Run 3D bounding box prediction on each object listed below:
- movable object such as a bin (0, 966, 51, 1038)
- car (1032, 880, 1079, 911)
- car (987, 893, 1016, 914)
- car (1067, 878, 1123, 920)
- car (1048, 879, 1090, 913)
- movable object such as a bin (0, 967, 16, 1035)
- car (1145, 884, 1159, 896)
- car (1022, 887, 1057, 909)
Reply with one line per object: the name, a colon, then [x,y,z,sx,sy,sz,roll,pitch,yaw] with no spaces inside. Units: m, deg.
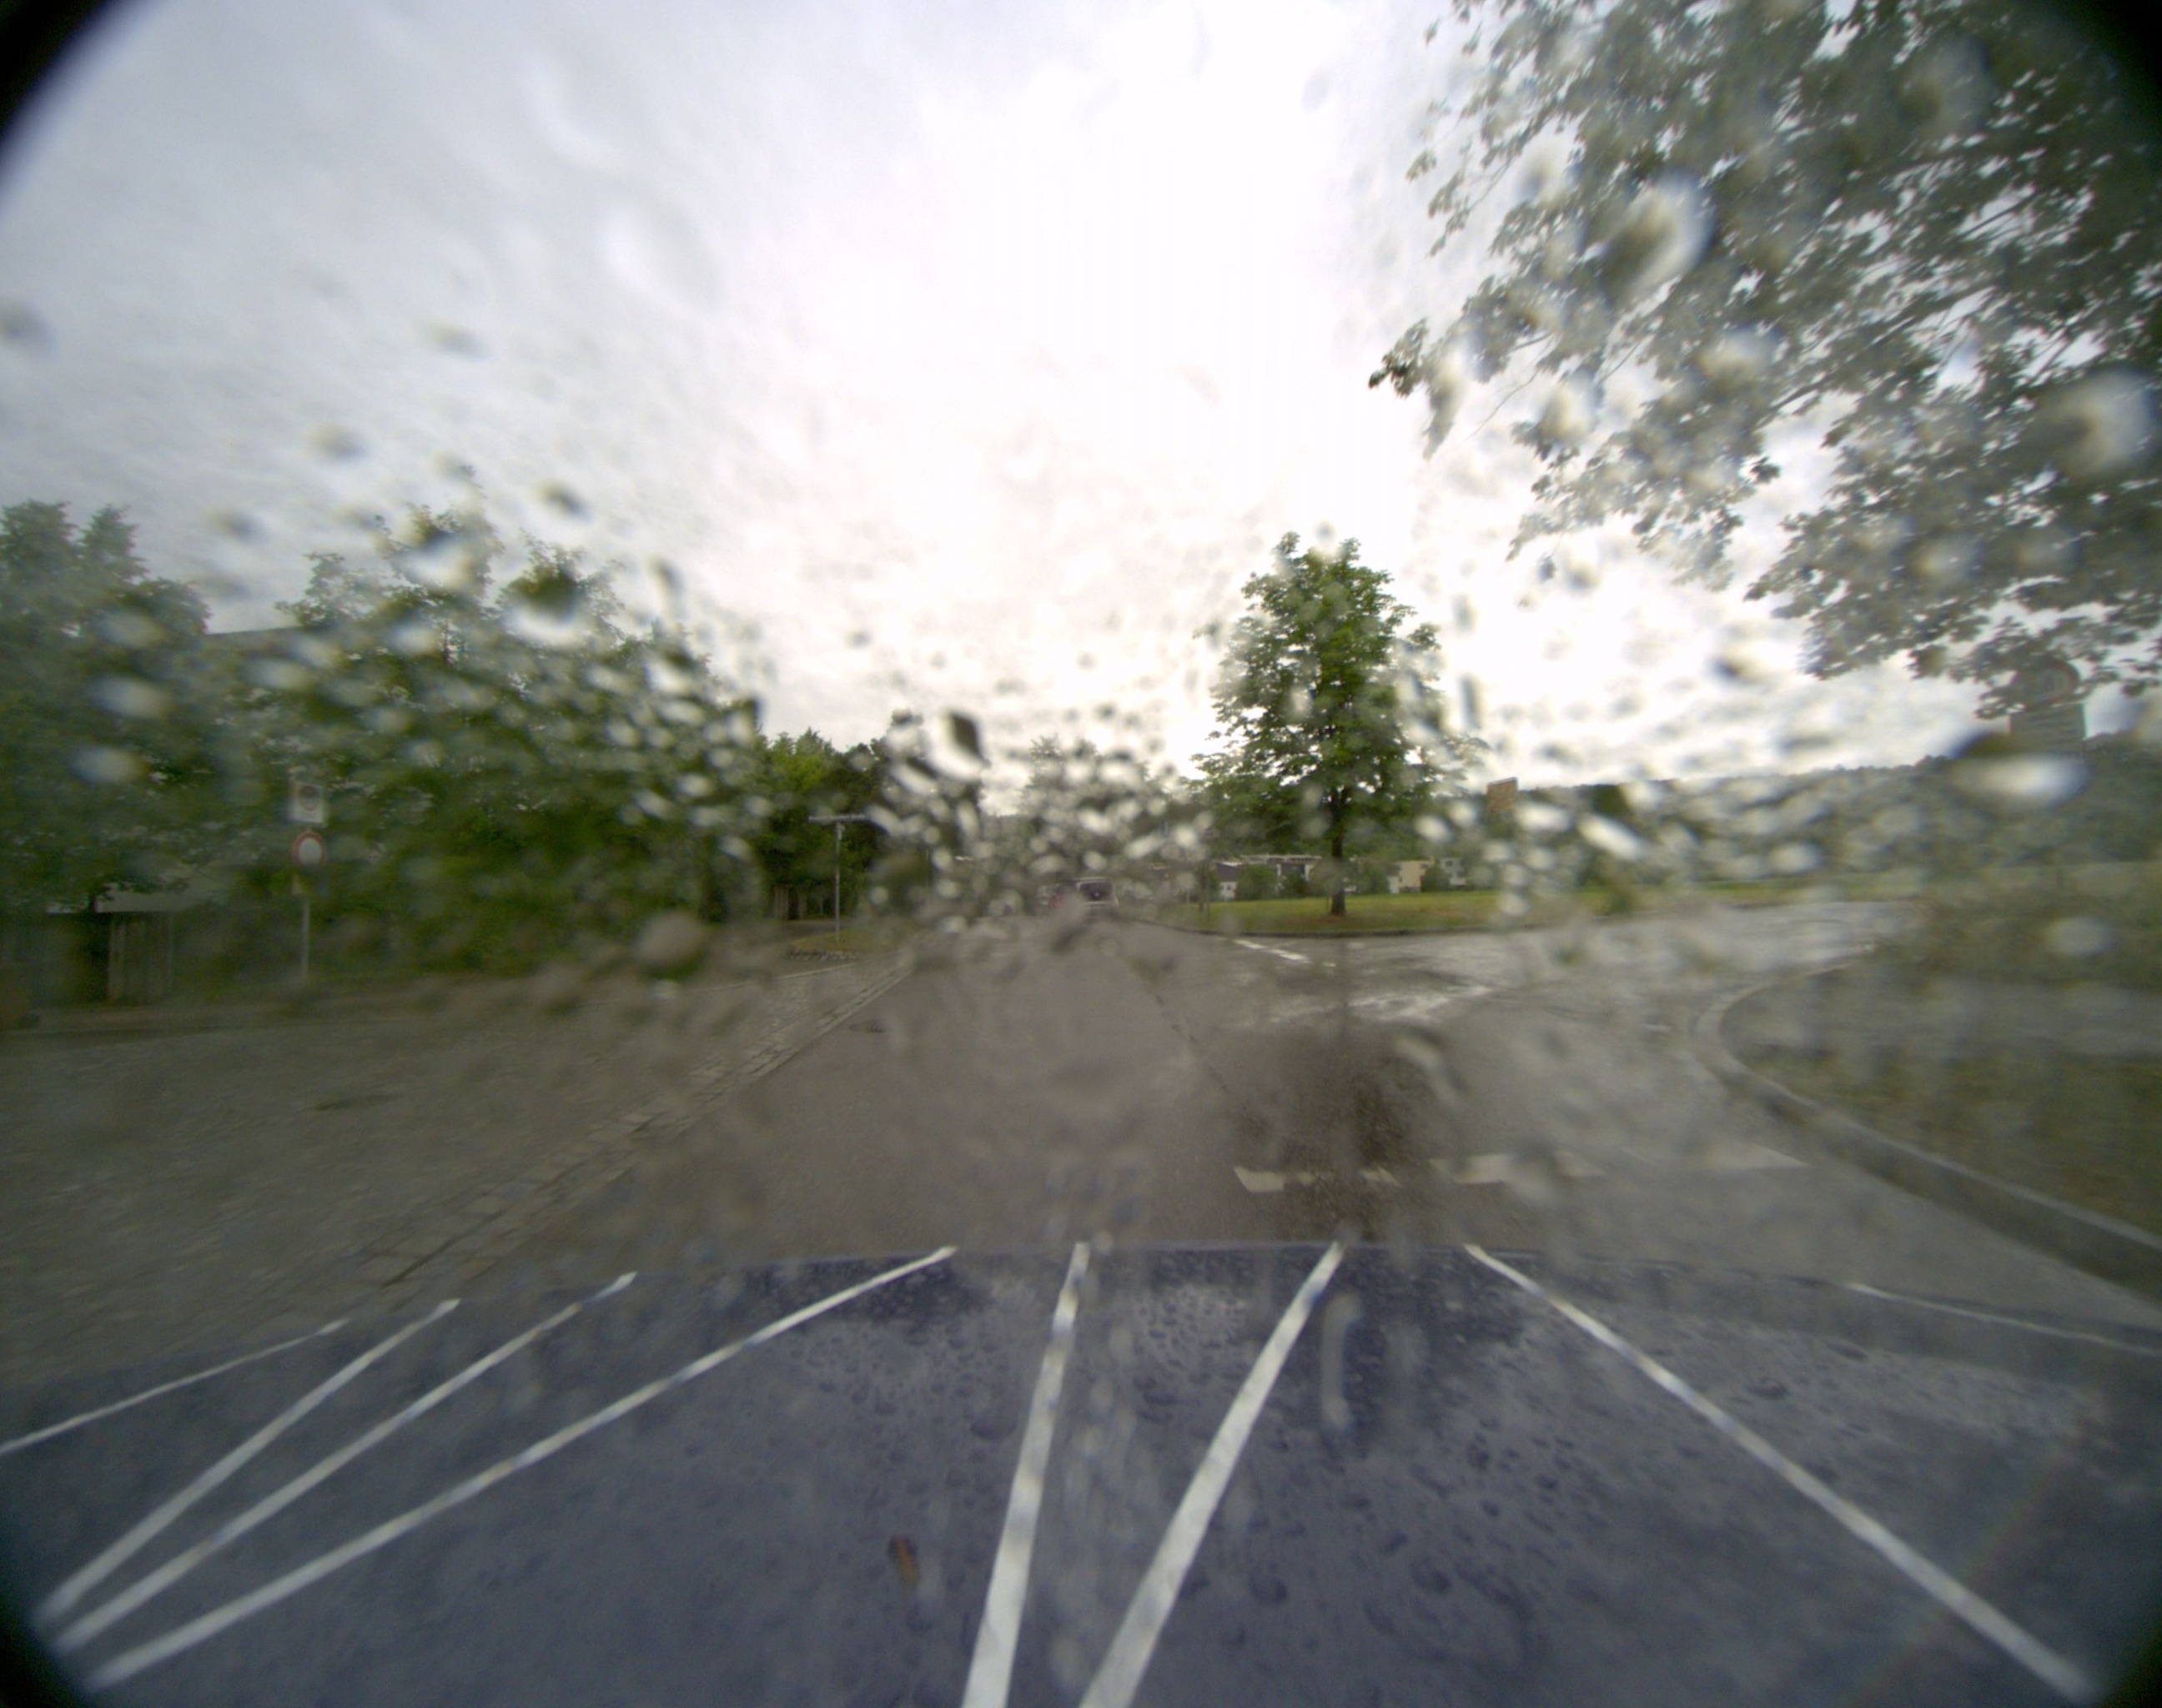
movable object such as a bin: [-14.758,2.029,10.419,0.529,0.925,0.573,-2,-2,10]
car: [-1.446,2.231,40.833,1.852,1.542,3.988,-1,-3,-12]
car: [-6.912,4.336,65.923,1.963,1.596,3.999,-1,-5,-14]
car: [0.477,1.678,29.063,1.679,1.470,3.553,-2,-2,-6]
car: [-0.581,1.911,34.760,1.553,1.427,3.011,-2,-2,-7]
movable object such as a bin: [-15.314,2.051,10.459,0.529,0.925,0.573,-2,-2,10]
car: [19.746,9.992,211.229,2.142,3.205,5.083,-2,-2,-17]
car: [-2.704,2.824,48.995,1.734,1.273,3.326,-1,-2,-12]
